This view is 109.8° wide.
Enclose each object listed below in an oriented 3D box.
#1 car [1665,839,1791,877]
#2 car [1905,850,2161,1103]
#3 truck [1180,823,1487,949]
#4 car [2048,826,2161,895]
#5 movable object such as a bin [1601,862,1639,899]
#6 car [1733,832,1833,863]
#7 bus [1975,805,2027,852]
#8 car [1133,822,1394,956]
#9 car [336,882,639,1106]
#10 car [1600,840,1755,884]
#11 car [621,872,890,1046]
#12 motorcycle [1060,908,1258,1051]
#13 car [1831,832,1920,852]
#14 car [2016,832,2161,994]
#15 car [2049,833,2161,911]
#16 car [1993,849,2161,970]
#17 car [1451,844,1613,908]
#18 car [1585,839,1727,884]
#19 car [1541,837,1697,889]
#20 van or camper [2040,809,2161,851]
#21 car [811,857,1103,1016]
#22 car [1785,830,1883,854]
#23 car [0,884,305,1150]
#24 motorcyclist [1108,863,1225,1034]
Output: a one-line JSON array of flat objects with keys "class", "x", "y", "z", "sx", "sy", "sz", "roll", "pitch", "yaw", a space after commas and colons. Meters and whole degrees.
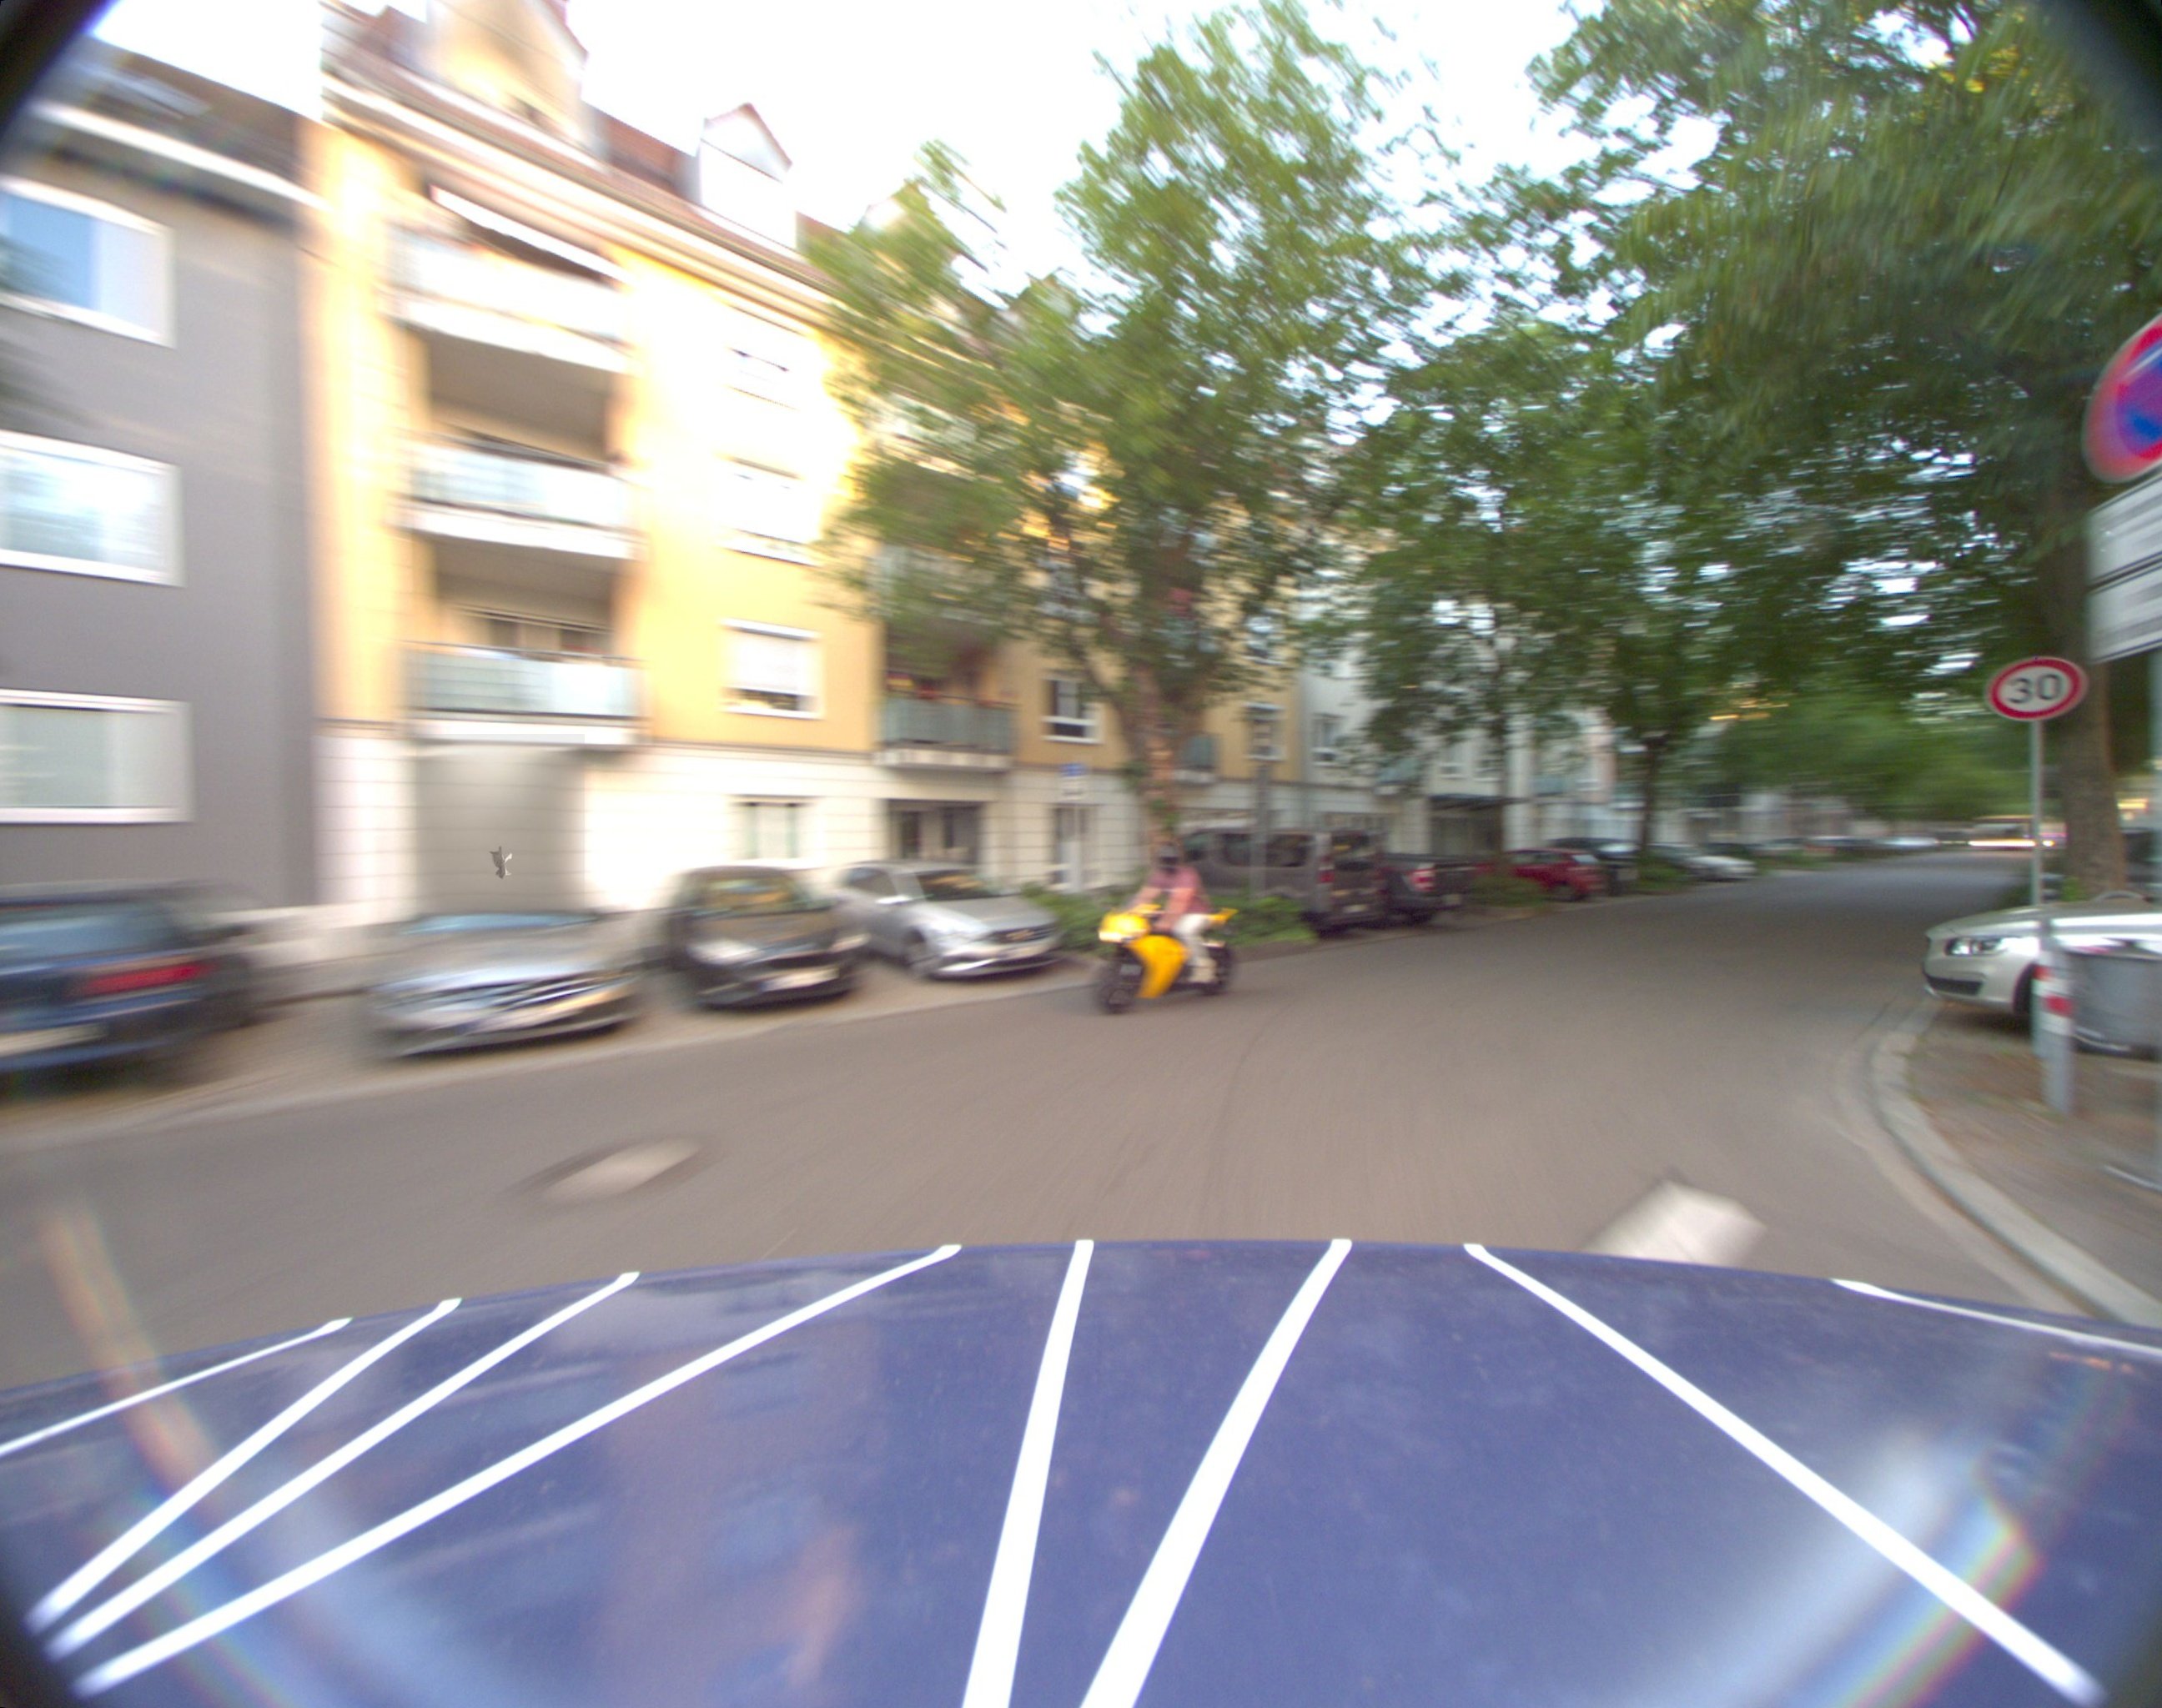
[{"class": "car", "x": 28.668, "y": 0.112, "z": 33.739, "sx": 1.917, "sy": 1.467, "sz": 3.987, "roll": -2, "pitch": 4, "yaw": -42}, {"class": "car", "x": 8.478, "y": 0.736, "z": 4.601, "sx": 2.058, "sy": 1.571, "sz": 4.503, "roll": -3, "pitch": -1, "yaw": -37}, {"class": "truck", "x": 5.142, "y": 0.444, "z": 16.517, "sx": 2.265, "sy": 2.122, "sz": 6.004, "roll": -2, "pitch": 4, "yaw": -38}, {"class": "car", "x": 30.407, "y": 0.151, "z": 21.038, "sx": 2.004, "sy": 1.881, "sz": 4.421, "roll": -2, "pitch": 0, "yaw": -39}, {"class": "movable object such as a bin", "x": 16.093, "y": 0.793, "z": 22.703, "sx": 0.590, "sy": 1.061, "sz": 0.775, "roll": -2, "pitch": 1, "yaw": -39}, {"class": "car", "x": 39.740, "y": -0.435, "z": 43.069, "sx": 1.929, "sy": 1.658, "sz": 3.863, "roll": -2, "pitch": 3, "yaw": -38}, {"class": "bus", "x": 84.295, "y": -2.296, "z": 69.600, "sx": 7.846, "sy": 4.086, "sz": 2.827, "roll": -2, "pitch": 1, "yaw": -38}, {"class": "car", "x": 3.347, "y": 0.483, "z": 14.826, "sx": 2.040, "sy": 2.122, "sz": 4.620, "roll": -2, "pitch": 4, "yaw": -38}, {"class": "car", "x": -6.019, "y": 1.102, "z": 7.790, "sx": 1.875, "sy": 1.499, "sz": 4.282, "roll": -2, "pitch": 0, "yaw": -39}, {"class": "car", "x": 23.867, "y": 0.238, "z": 30.554, "sx": 1.776, "sy": 1.543, "sz": 4.573, "roll": -2, "pitch": 3, "yaw": -39}, {"class": "car", "x": -4.119, "y": 1.027, "z": 9.220, "sx": 1.857, "sy": 1.554, "sz": 4.070, "roll": -2, "pitch": 0, "yaw": -40}, {"class": "motorcycle", "x": 0.849, "y": 1.190, "z": 7.762, "sx": 2.112, "sy": 1.115, "sz": 0.734, "roll": -2, "pitch": 0, "yaw": -41}, {"class": "car", "x": 61.839, "y": -0.969, "z": 59.215, "sx": 1.699, "sy": 1.462, "sz": 4.585, "roll": -2, "pitch": 2, "yaw": -37}, {"class": "car", "x": 12.847, "y": 0.539, "z": 7.547, "sx": 2.068, "sy": 1.674, "sz": 4.399, "roll": -2, "pitch": -1, "yaw": -40}, {"class": "car", "x": 23.172, "y": 0.349, "z": 15.979, "sx": 1.764, "sy": 1.600, "sz": 3.406, "roll": -2, "pitch": 0, "yaw": -40}, {"class": "car", "x": 14.536, "y": 0.643, "z": 9.009, "sx": 2.075, "sy": 1.416, "sz": 4.718, "roll": -2, "pitch": 0, "yaw": -40}, {"class": "car", "x": 13.189, "y": 0.557, "z": 22.380, "sx": 1.784, "sy": 1.540, "sz": 3.664, "roll": -4, "pitch": 5, "yaw": -40}, {"class": "car", "x": 22.039, "y": 0.229, "z": 29.280, "sx": 1.730, "sy": 1.517, "sz": 3.988, "roll": -2, "pitch": 3, "yaw": -36}, {"class": "car", "x": 19.621, "y": 0.255, "z": 27.854, "sx": 4.384, "sy": 1.694, "sz": 1.899, "roll": 2, "pitch": 3, "yaw": 44}, {"class": "van or camper", "x": 62.463, "y": -1.444, "z": 46.414, "sx": 1.949, "sy": 2.413, "sz": 4.820, "roll": -2, "pitch": 1, "yaw": -38}, {"class": "car", "x": -1.995, "y": 0.949, "z": 10.753, "sx": 1.840, "sy": 1.694, "sz": 4.798, "roll": -2, "pitch": 0, "yaw": -40}, {"class": "car", "x": 50.316, "y": -0.846, "z": 50.844, "sx": 1.734, "sy": 1.462, "sz": 4.359, "roll": -2, "pitch": 3, "yaw": -33}, {"class": "car", "x": -8.008, "y": 1.129, "z": 6.256, "sx": 1.749, "sy": 1.517, "sz": 3.352, "roll": -2, "pitch": 2, "yaw": -37}, {"class": "motorcyclist", "x": 0.877, "y": 0.908, "z": 7.799, "sx": 0.917, "sy": 1.605, "sz": 0.720, "roll": -2, "pitch": 1, "yaw": -41}]
